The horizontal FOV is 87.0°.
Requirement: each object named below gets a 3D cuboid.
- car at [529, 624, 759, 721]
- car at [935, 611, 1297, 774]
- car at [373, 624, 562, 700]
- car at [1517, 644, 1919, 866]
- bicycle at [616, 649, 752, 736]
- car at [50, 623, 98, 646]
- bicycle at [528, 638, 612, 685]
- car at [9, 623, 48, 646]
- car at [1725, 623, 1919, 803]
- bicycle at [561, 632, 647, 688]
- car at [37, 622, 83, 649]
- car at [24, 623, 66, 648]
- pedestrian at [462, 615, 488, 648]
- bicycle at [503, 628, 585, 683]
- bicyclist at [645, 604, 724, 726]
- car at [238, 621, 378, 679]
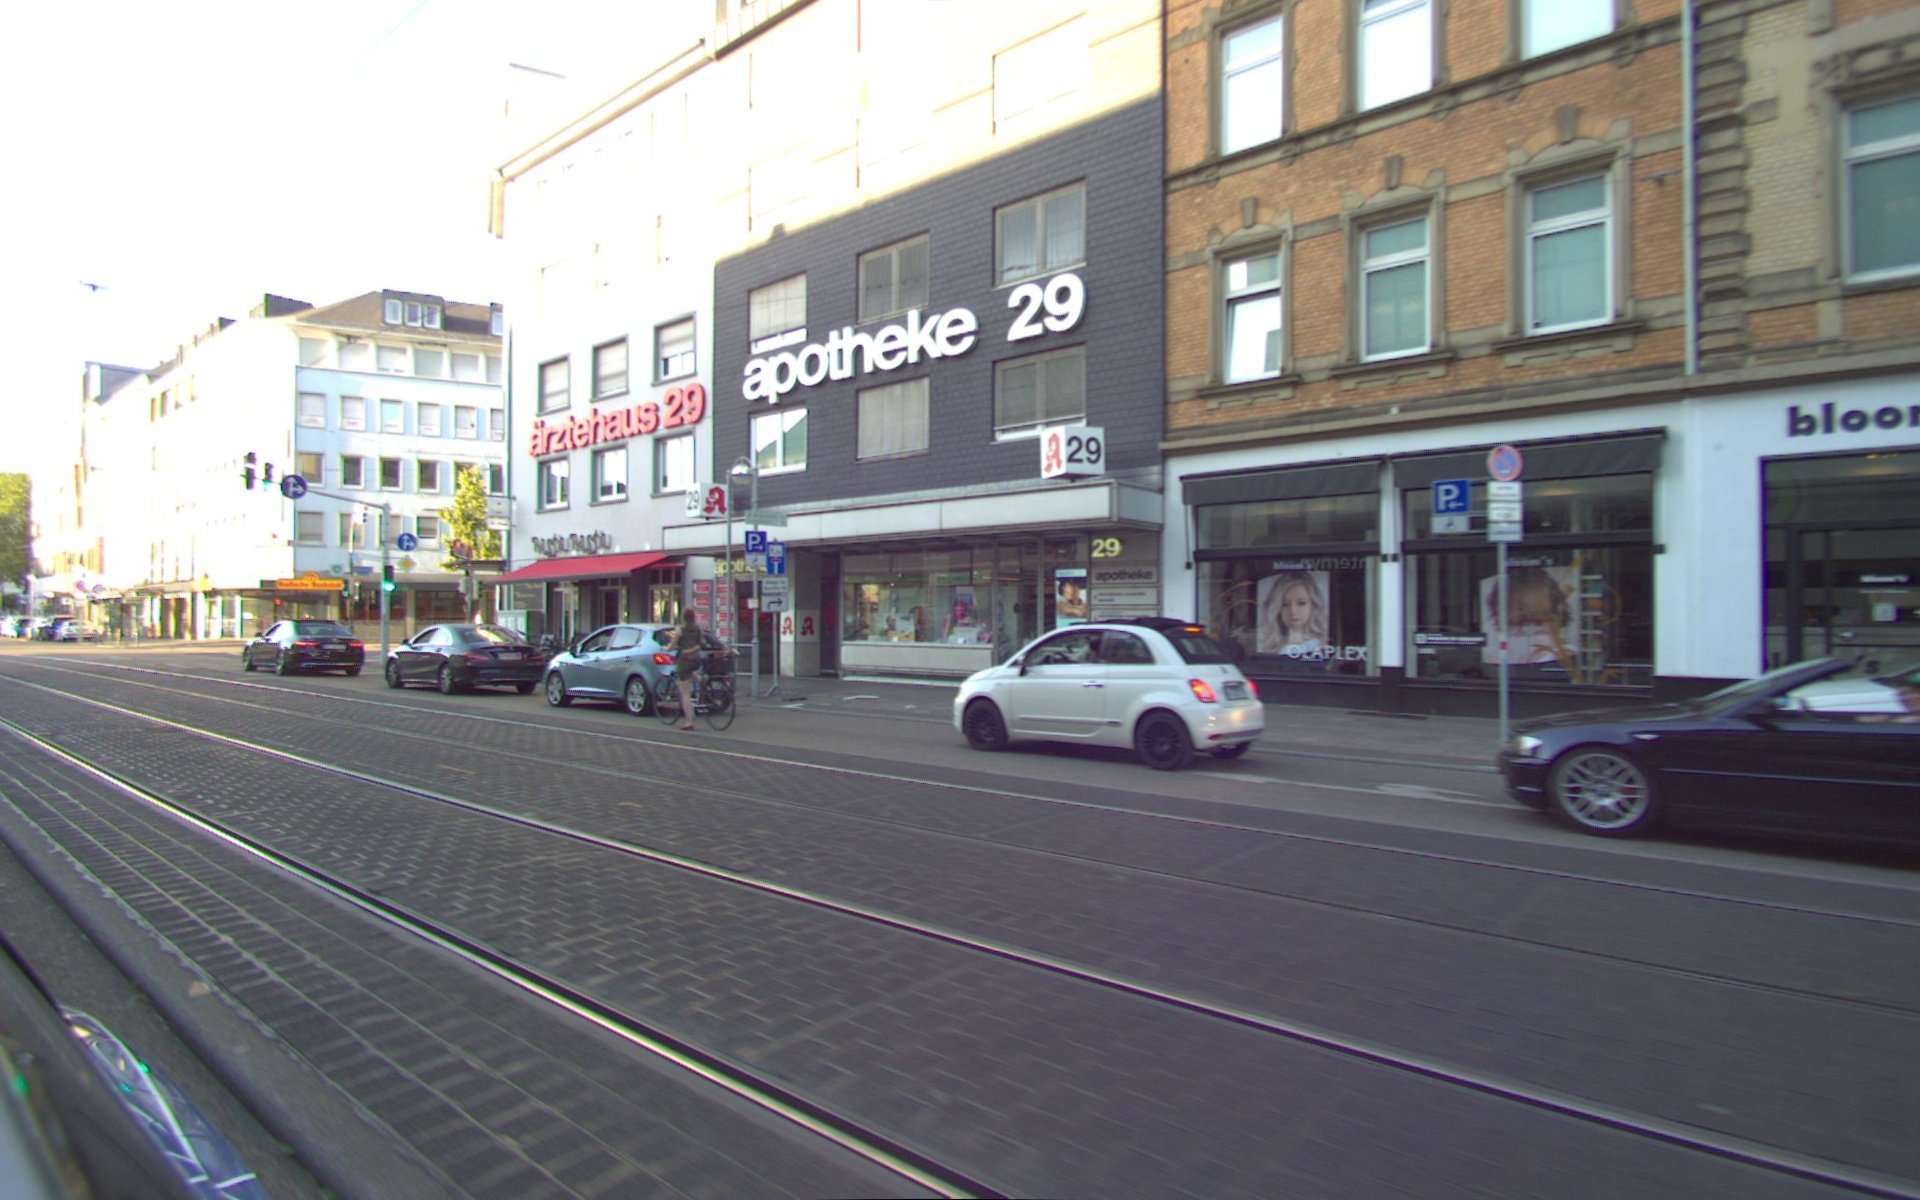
[{"bbox_3d":[-5.292,1.137,16.725,4.059,1.397,1.740,-1,-4,41],"label":"car"},{"bbox_3d":[1.647,0.928,11.286,3.678,1.517,1.650,-1,-4,40],"label":"car"},{"bbox_3d":[-10.378,1.246,21.184,4.561,1.397,1.895,-1,-4,41],"label":"car"},{"bbox_3d":[6.090,0.949,6.405,4.270,1.237,1.650,-1,-4,40],"label":"car"},{"bbox_3d":[-3.739,1.201,13.616,2.079,1.042,0.686,-1,-1,39],"label":"bicycle"},{"bbox_3d":[-54.267,2.090,61.975,4.000,1.304,1.823,-1,-2,43],"label":"car"},{"bbox_3d":[-9.536,1.484,24.813,0.607,0.991,1.837,-1,1,40],"label":"bicycle"},{"bbox_3d":[-68.353,2.519,74.262,4.000,1.647,1.823,-1,-2,43],"label":"car"},{"bbox_3d":[9.052,0.929,8.404,4.268,1.400,1.742,-1,1,39],"label":"car"},{"bbox_3d":[-8.411,1.395,23.946,0.607,1.143,1.837,-1,1,40],"label":"bicycle"},{"bbox_3d":[-57.664,2.264,64.824,4.000,1.647,1.823,-1,-2,43],"label":"car"},{"bbox_3d":[-62.628,2.382,69.248,4.000,1.647,1.823,-1,-2,43],"label":"car"},{"bbox_3d":[-25.842,1.667,53.910,0.980,1.739,0.806,0,0,2],"label":"pedestrian"},{"bbox_3d":[-10.585,1.397,25.822,0.607,1.236,1.837,-1,1,40],"label":"bicycle"},{"bbox_3d":[-3.704,0.845,13.596,0.798,1.577,0.686,-1,-2,39],"label":"bicyclist"},{"bbox_3d":[-17.390,1.304,26.921,4.561,1.397,1.895,-1,-4,41],"label":"car"}]
